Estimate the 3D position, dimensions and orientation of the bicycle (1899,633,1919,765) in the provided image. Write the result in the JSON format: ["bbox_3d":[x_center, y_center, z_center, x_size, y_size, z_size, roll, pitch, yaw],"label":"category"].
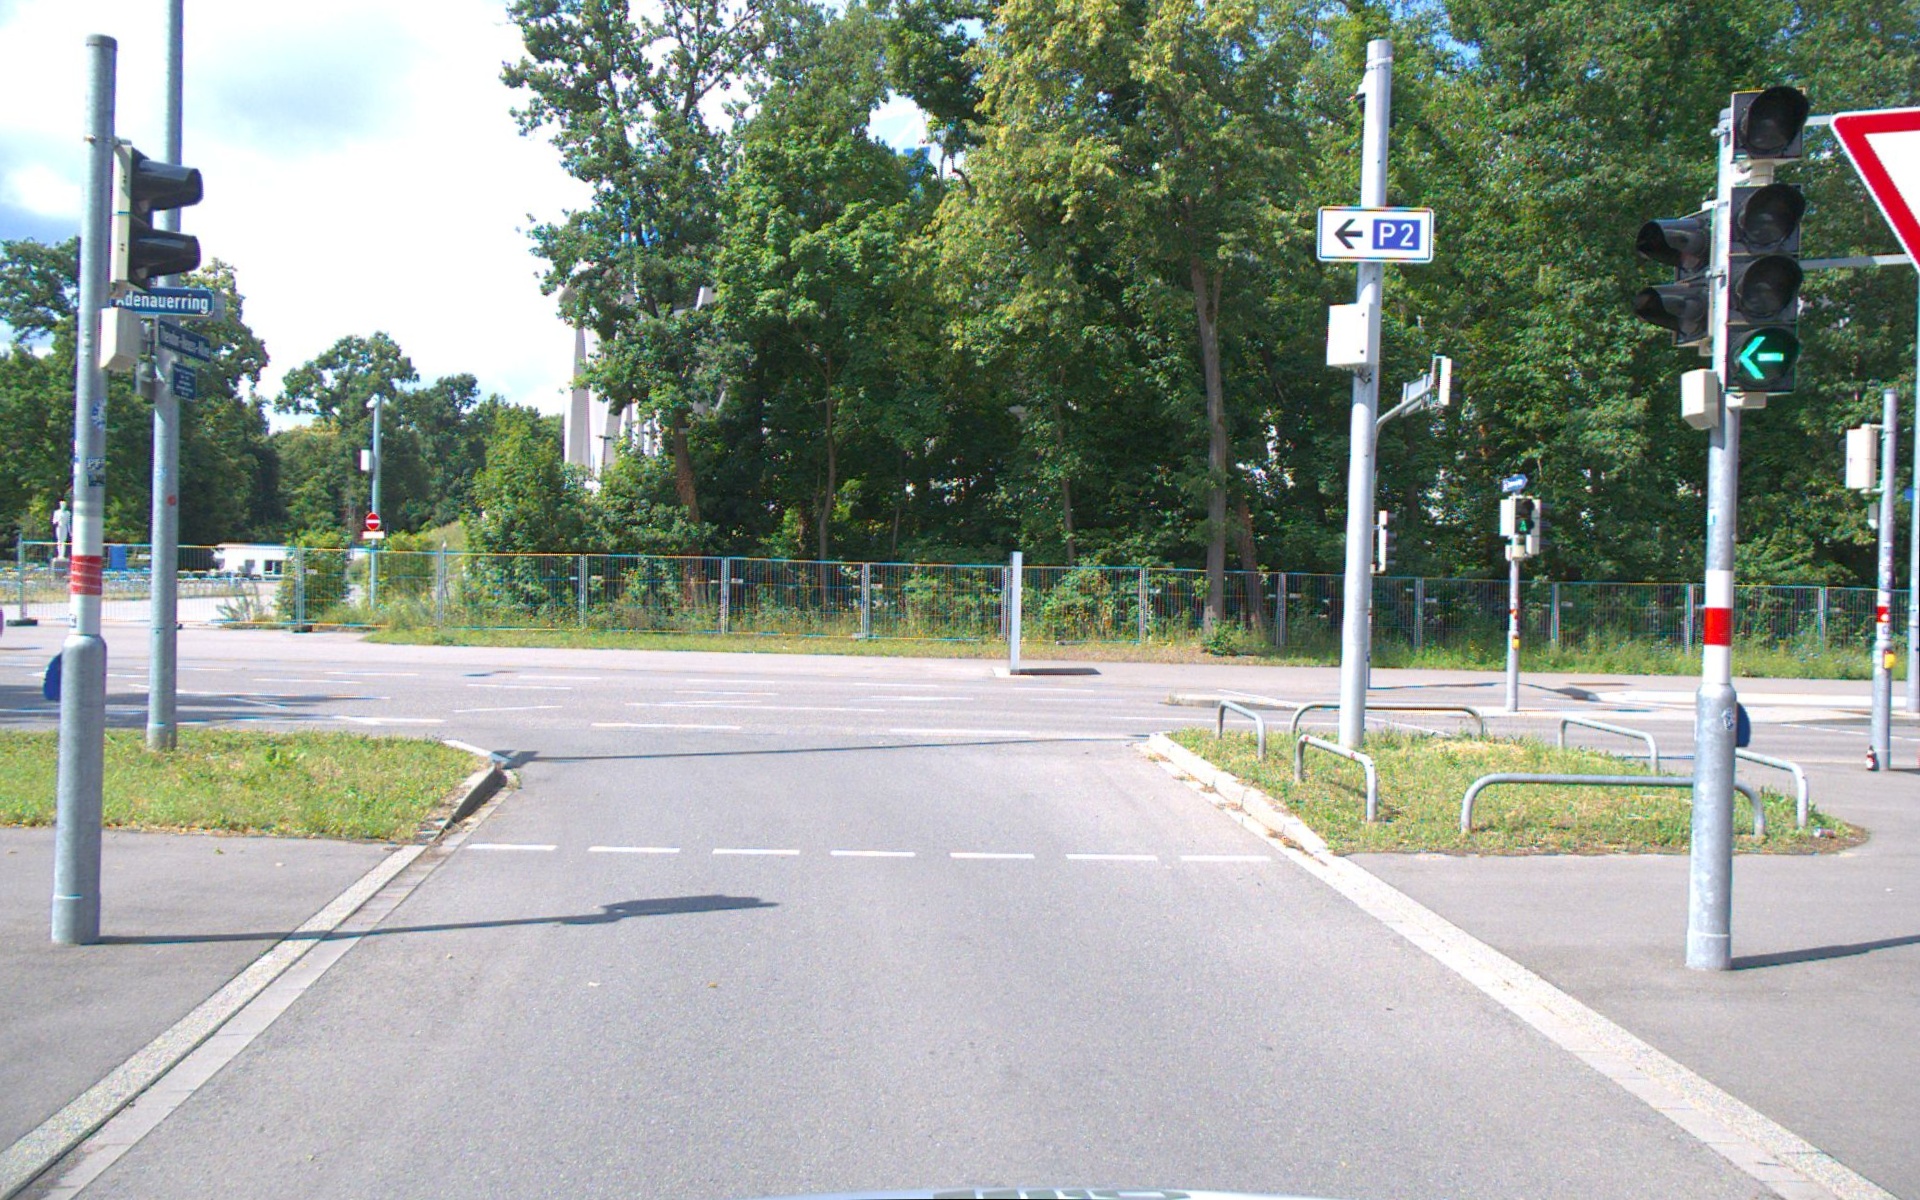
[{"bbox_3d":[9.343,0.925,14.948,0.861,1.227,1.899,1,-1,8],"label":"bicycle"}]
